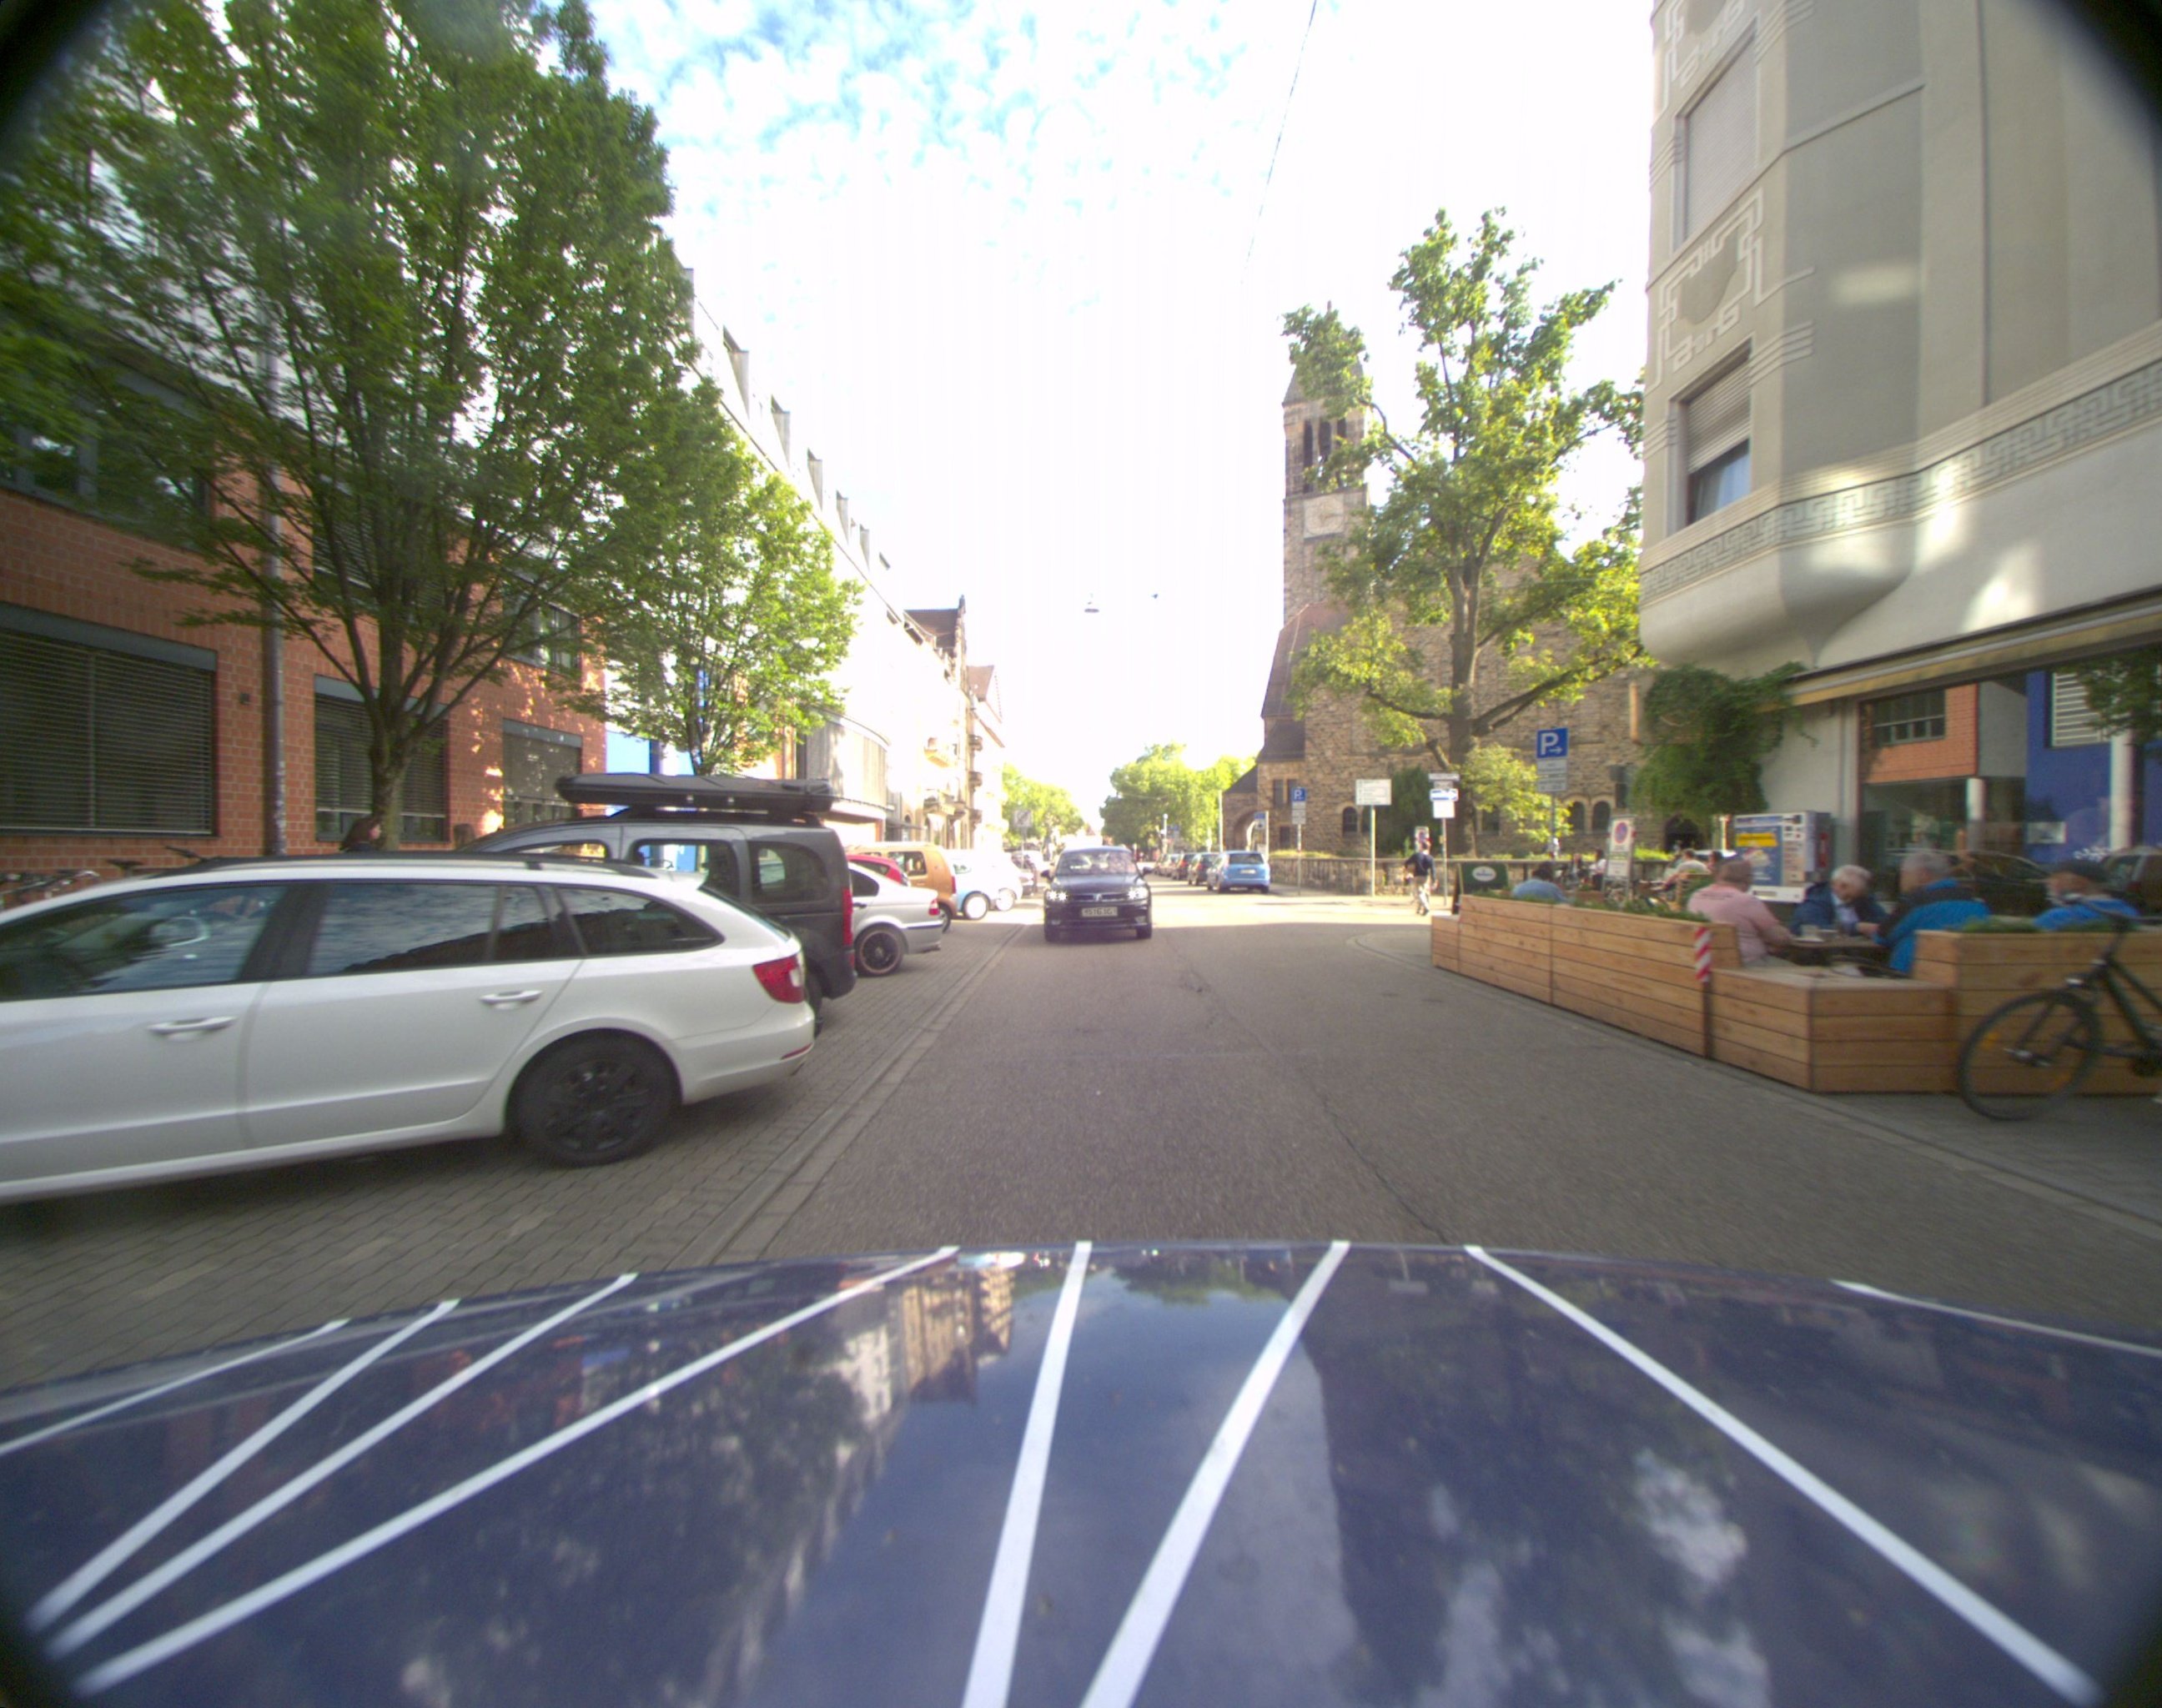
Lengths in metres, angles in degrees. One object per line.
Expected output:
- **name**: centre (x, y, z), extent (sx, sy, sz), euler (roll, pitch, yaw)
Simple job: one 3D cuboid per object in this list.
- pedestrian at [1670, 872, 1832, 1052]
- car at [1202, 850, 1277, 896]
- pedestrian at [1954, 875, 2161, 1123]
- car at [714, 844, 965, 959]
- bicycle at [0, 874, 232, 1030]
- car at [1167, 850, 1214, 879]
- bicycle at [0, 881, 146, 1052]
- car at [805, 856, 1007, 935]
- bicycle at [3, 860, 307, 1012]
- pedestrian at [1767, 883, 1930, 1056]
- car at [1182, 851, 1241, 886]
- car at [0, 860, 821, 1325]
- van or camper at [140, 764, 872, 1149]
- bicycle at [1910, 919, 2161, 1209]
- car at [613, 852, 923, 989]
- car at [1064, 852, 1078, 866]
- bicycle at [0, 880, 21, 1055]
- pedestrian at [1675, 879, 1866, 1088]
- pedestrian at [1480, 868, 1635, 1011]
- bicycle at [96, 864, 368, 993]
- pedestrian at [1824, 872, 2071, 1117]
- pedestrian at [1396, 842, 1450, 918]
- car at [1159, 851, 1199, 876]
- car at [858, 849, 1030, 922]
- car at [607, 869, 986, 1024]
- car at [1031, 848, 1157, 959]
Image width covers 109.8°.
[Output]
- **pedestrian**: centre (5.318, 0.823, 6.075), extent (0.668, 1.328, 0.740), euler (-1, 1, 8)
- **car**: centre (5.573, 0.612, 27.215), extent (1.828, 1.477, 4.170), euler (-1, 0, 1)
- **pedestrian**: centre (5.982, 0.825, 4.587), extent (0.637, 1.364, 0.684), euler (-1, 1, 4)
- **car**: centre (-4.370, 0.748, 13.886), extent (4.006, 1.751, 1.908), euler (-2, 1, -31)
- **bicycle**: centre (-8.313, 0.778, 6.237), extent (1.896, 1.096, 0.618), euler (3, 1, -2)
- **car**: centre (5.662, 0.526, 39.739), extent (1.911, 1.412, 4.000), euler (-1, 0, 1)
- **bicycle**: centre (-8.278, 0.776, 5.605), extent (1.896, 1.113, 0.618), euler (3, 1, -2)
- **car**: centre (-3.931, 0.854, 17.210), extent (4.006, 1.499, 1.995), euler (-2, 1, -31)
- **bicycle**: centre (-8.319, 0.719, 6.879), extent (1.896, 1.198, 0.618), euler (3, 1, -2)
- **pedestrian**: centre (5.966, 0.866, 5.947), extent (0.597, 1.236, 0.694), euler (-1, 1, 8)
- **car**: centre (5.657, 0.581, 33.300), extent (1.911, 1.412, 4.000), euler (-1, 0, 1)
- **car**: centre (-3.938, 0.850, 3.578), extent (4.817, 1.535, 1.866), euler (2, 1, -31)
- **van or camper**: centre (-3.978, 0.538, 6.117), extent (4.006, 2.166, 1.995), euler (-2, 1, -29)
- **bicycle**: centre (5.246, 0.929, 3.582), extent (1.872, 1.168, 0.688), euler (-1, 1, 3)
- **car**: centre (-4.579, 0.826, 11.251), extent (3.932, 1.630, 1.942), euler (-2, 1, -31)
- **car**: centre (-1.388, 0.685, 108.773), extent (1.810, 1.914, 4.000), euler (-2, 0, 2)
- **bicycle**: centre (-8.309, 0.735, 4.969), extent (1.782, 1.198, 0.618), euler (3, 1, -2)
- **pedestrian**: centre (4.756, 0.861, 5.288), extent (0.738, 1.341, 0.644), euler (-1, 1, 3)
- **pedestrian**: centre (4.896, 0.848, 7.888), extent (1.088, 1.365, 0.895), euler (-1, 1, 9)
- **bicycle**: centre (-8.335, 0.712, 7.511), extent (1.896, 1.106, 0.618), euler (3, 1, -2)
- **pedestrian**: centre (5.297, 0.815, 4.701), extent (0.689, 1.365, 0.739), euler (-1, 1, 4)
- **pedestrian**: centre (7.870, 0.588, 17.522), extent (0.845, 1.699, 0.879), euler (-1, 1, 1)
- **car**: centre (5.941, 0.522, 46.445), extent (1.911, 1.412, 4.000), euler (-1, 0, 1)
- **car**: centre (-3.572, 0.747, 19.963), extent (4.006, 1.663, 1.923), euler (-2, 1, -31)
- **car**: centre (-3.345, 0.946, 9.220), extent (4.006, 1.391, 1.657), euler (-2, 1, -31)
- **car**: centre (0.364, 0.737, 13.648), extent (1.874, 1.644, 4.388), euler (-1, 0, 5)
